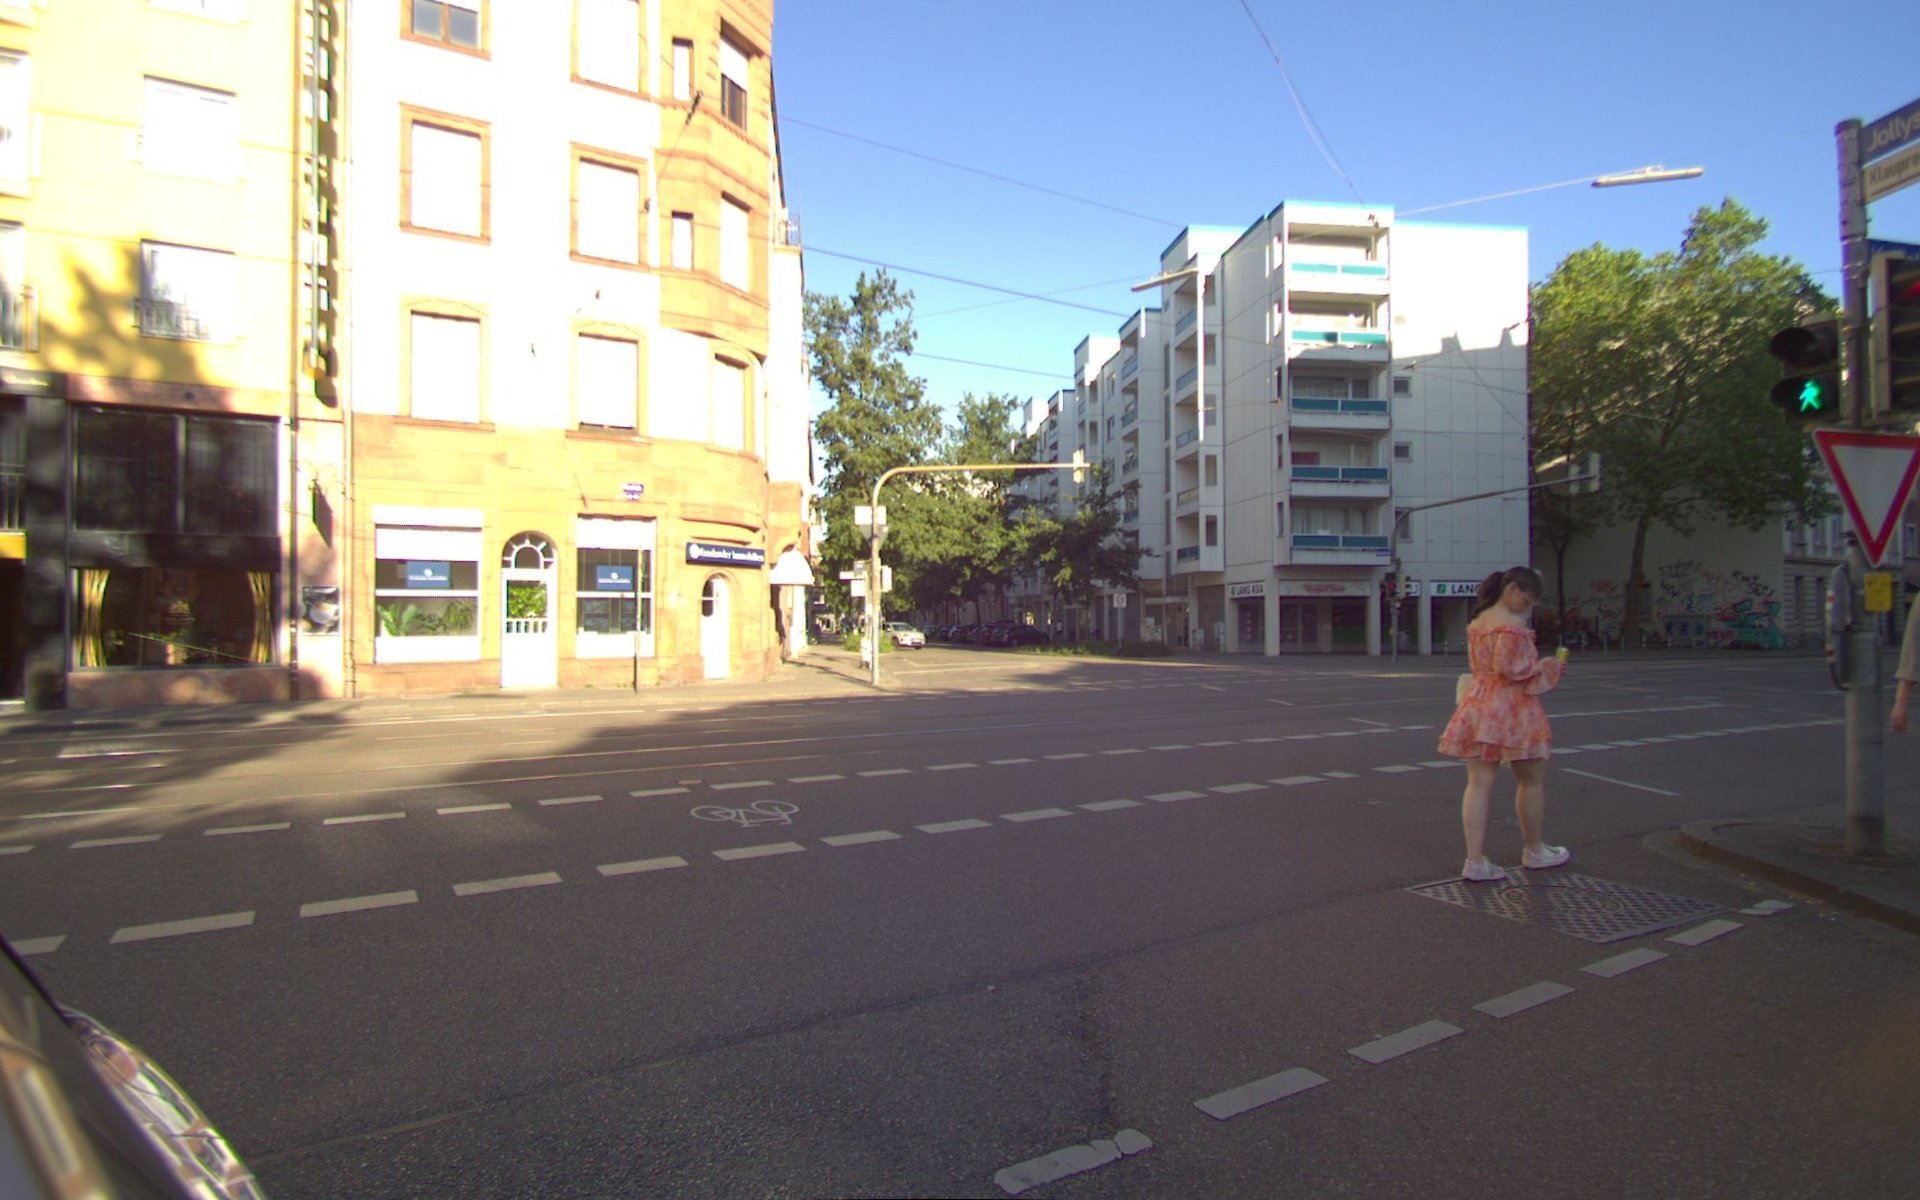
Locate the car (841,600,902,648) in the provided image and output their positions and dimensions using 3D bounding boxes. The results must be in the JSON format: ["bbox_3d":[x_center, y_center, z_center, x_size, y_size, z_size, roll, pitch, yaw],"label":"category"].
[{"bbox_3d":[-6.466,1.744,72.857,3.271,3.203,8.103,0,-2,-13],"label":"car"}]

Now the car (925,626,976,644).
[{"bbox_3d":[-0.877,3.096,90.586,4.232,1.597,2.005,0,-2,-14],"label":"car"}]

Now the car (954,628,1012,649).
[{"bbox_3d":[1.833,3.061,80.314,4.232,1.597,2.005,0,-2,-14],"label":"car"}]

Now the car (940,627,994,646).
[{"bbox_3d":[0.586,3.081,85.892,4.232,1.597,2.005,0,-2,-14],"label":"car"}]

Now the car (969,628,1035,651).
[{"bbox_3d":[2.962,2.799,71.863,4.232,1.597,2.006,0,-2,-15],"label":"car"}]

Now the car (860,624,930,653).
[{"bbox_3d":[-4.020,2.337,62.133,3.994,1.763,1.975,-1,-2,37],"label":"car"}]

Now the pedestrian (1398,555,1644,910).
[{"bbox_3d":[3.074,0.654,5.553,0.969,1.710,0.871,1,-2,-41],"label":"pedestrian"}]

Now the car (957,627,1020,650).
[{"bbox_3d":[2.076,2.806,74.149,4.232,1.597,2.006,0,-2,-15],"label":"car"}]

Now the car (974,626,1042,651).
[{"bbox_3d":[3.292,2.617,69.292,4.232,1.597,2.006,0,-2,-15],"label":"car"}]

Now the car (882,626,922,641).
[{"bbox_3d":[-6.650,3.805,115.355,4.232,1.597,2.005,0,-2,-14],"label":"car"}]

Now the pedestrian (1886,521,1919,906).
[{"bbox_3d":[4.856,0.502,4.557,0.969,1.710,0.871,1,-2,-41],"label":"pedestrian"}]

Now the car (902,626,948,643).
[{"bbox_3d":[-3.519,3.422,100.550,4.232,1.597,2.005,0,-2,-14],"label":"car"}]

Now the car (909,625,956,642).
[{"bbox_3d":[-2.661,3.268,97.830,4.232,1.597,2.005,0,-2,-14],"label":"car"}]

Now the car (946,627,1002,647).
[{"bbox_3d":[1.147,3.072,83.538,4.232,1.597,2.005,0,-2,-14],"label":"car"}]

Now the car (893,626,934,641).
[{"bbox_3d":[-5.206,3.757,112.700,4.232,1.597,2.005,0,-2,-14],"label":"car"}]

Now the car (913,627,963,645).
[{"bbox_3d":[-2.067,3.357,94.430,4.232,1.597,2.005,0,-2,-14],"label":"car"}]

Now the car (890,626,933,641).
[{"bbox_3d":[-5.150,3.584,107.616,4.232,1.597,2.005,0,-2,-14],"label":"car"}]

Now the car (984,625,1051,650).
[{"bbox_3d":[3.785,2.451,66.807,3.932,1.597,2.006,0,-2,-15],"label":"car"}]
